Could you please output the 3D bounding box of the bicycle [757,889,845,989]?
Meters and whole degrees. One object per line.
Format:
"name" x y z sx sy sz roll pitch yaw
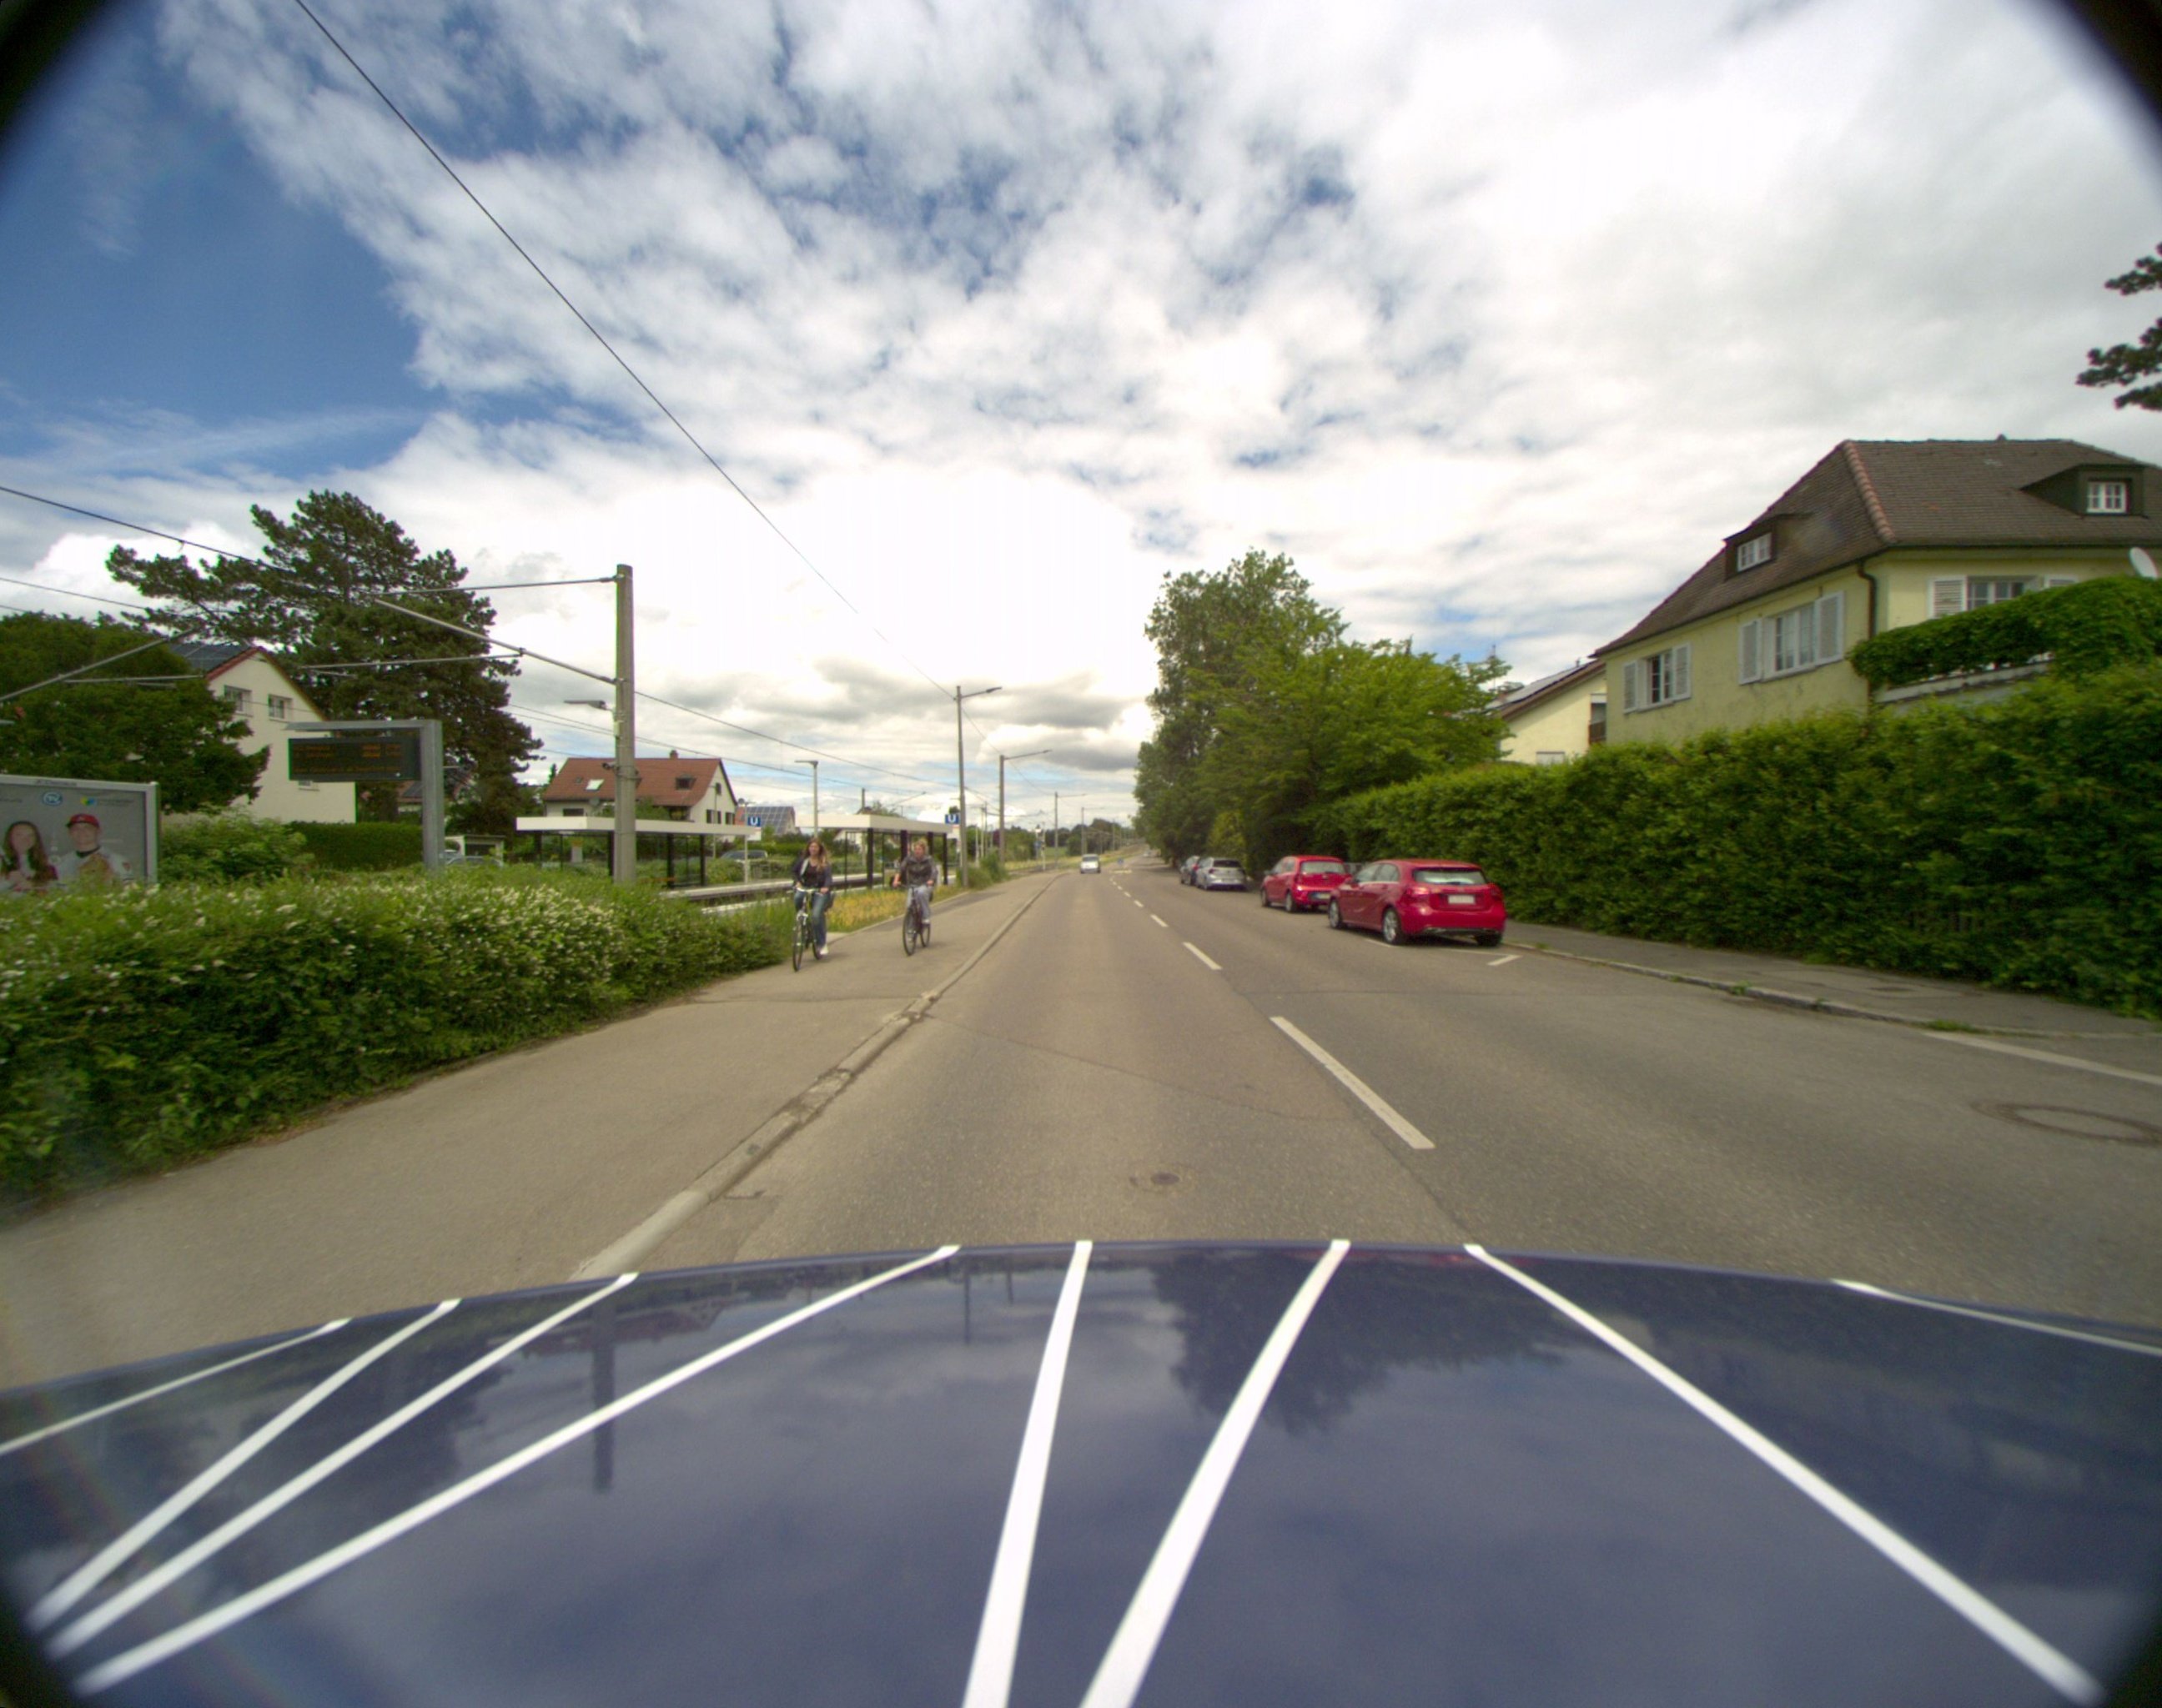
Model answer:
"bicycle" -3.870 1.122 10.685 0.451 1.143 2.207 -1 1 -2

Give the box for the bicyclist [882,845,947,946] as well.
"bicyclist" -2.648 0.636 12.149 0.827 1.530 0.861 -2 1 -3

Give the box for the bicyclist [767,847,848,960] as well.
"bicyclist" -3.852 0.676 10.769 0.826 1.529 0.861 -1 1 -2

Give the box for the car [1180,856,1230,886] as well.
"car" 6.240 0.831 38.617 1.819 1.394 3.899 -1 0 -1

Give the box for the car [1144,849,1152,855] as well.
"car" 19.879 -0.644 225.511 1.998 1.739 4.000 0 0 1

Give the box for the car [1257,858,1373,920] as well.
"car" 6.157 0.867 20.447 1.853 1.442 3.748 -1 0 -2

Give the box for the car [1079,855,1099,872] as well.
"car" 0.663 0.762 65.857 1.666 1.394 3.899 -1 0 -1

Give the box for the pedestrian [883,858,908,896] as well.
"pedestrian" -7.081 0.871 29.077 0.720 1.412 0.643 -2 1 3

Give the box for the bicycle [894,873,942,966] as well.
"bicycle" -2.609 0.995 12.337 0.451 1.278 2.206 -2 1 -5

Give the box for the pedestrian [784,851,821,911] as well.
"pedestrian" -7.728 0.737 21.085 0.730 1.608 0.704 -3 1 -34

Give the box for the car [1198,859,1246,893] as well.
"car" 6.093 0.927 33.115 1.676 1.363 3.607 1 0 5

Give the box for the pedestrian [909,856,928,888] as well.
"pedestrian" -6.697 0.733 31.278 0.588 1.272 0.582 -2 1 2

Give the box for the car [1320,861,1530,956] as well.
"car" 5.936 0.864 13.734 1.971 1.394 4.065 -1 0 0
